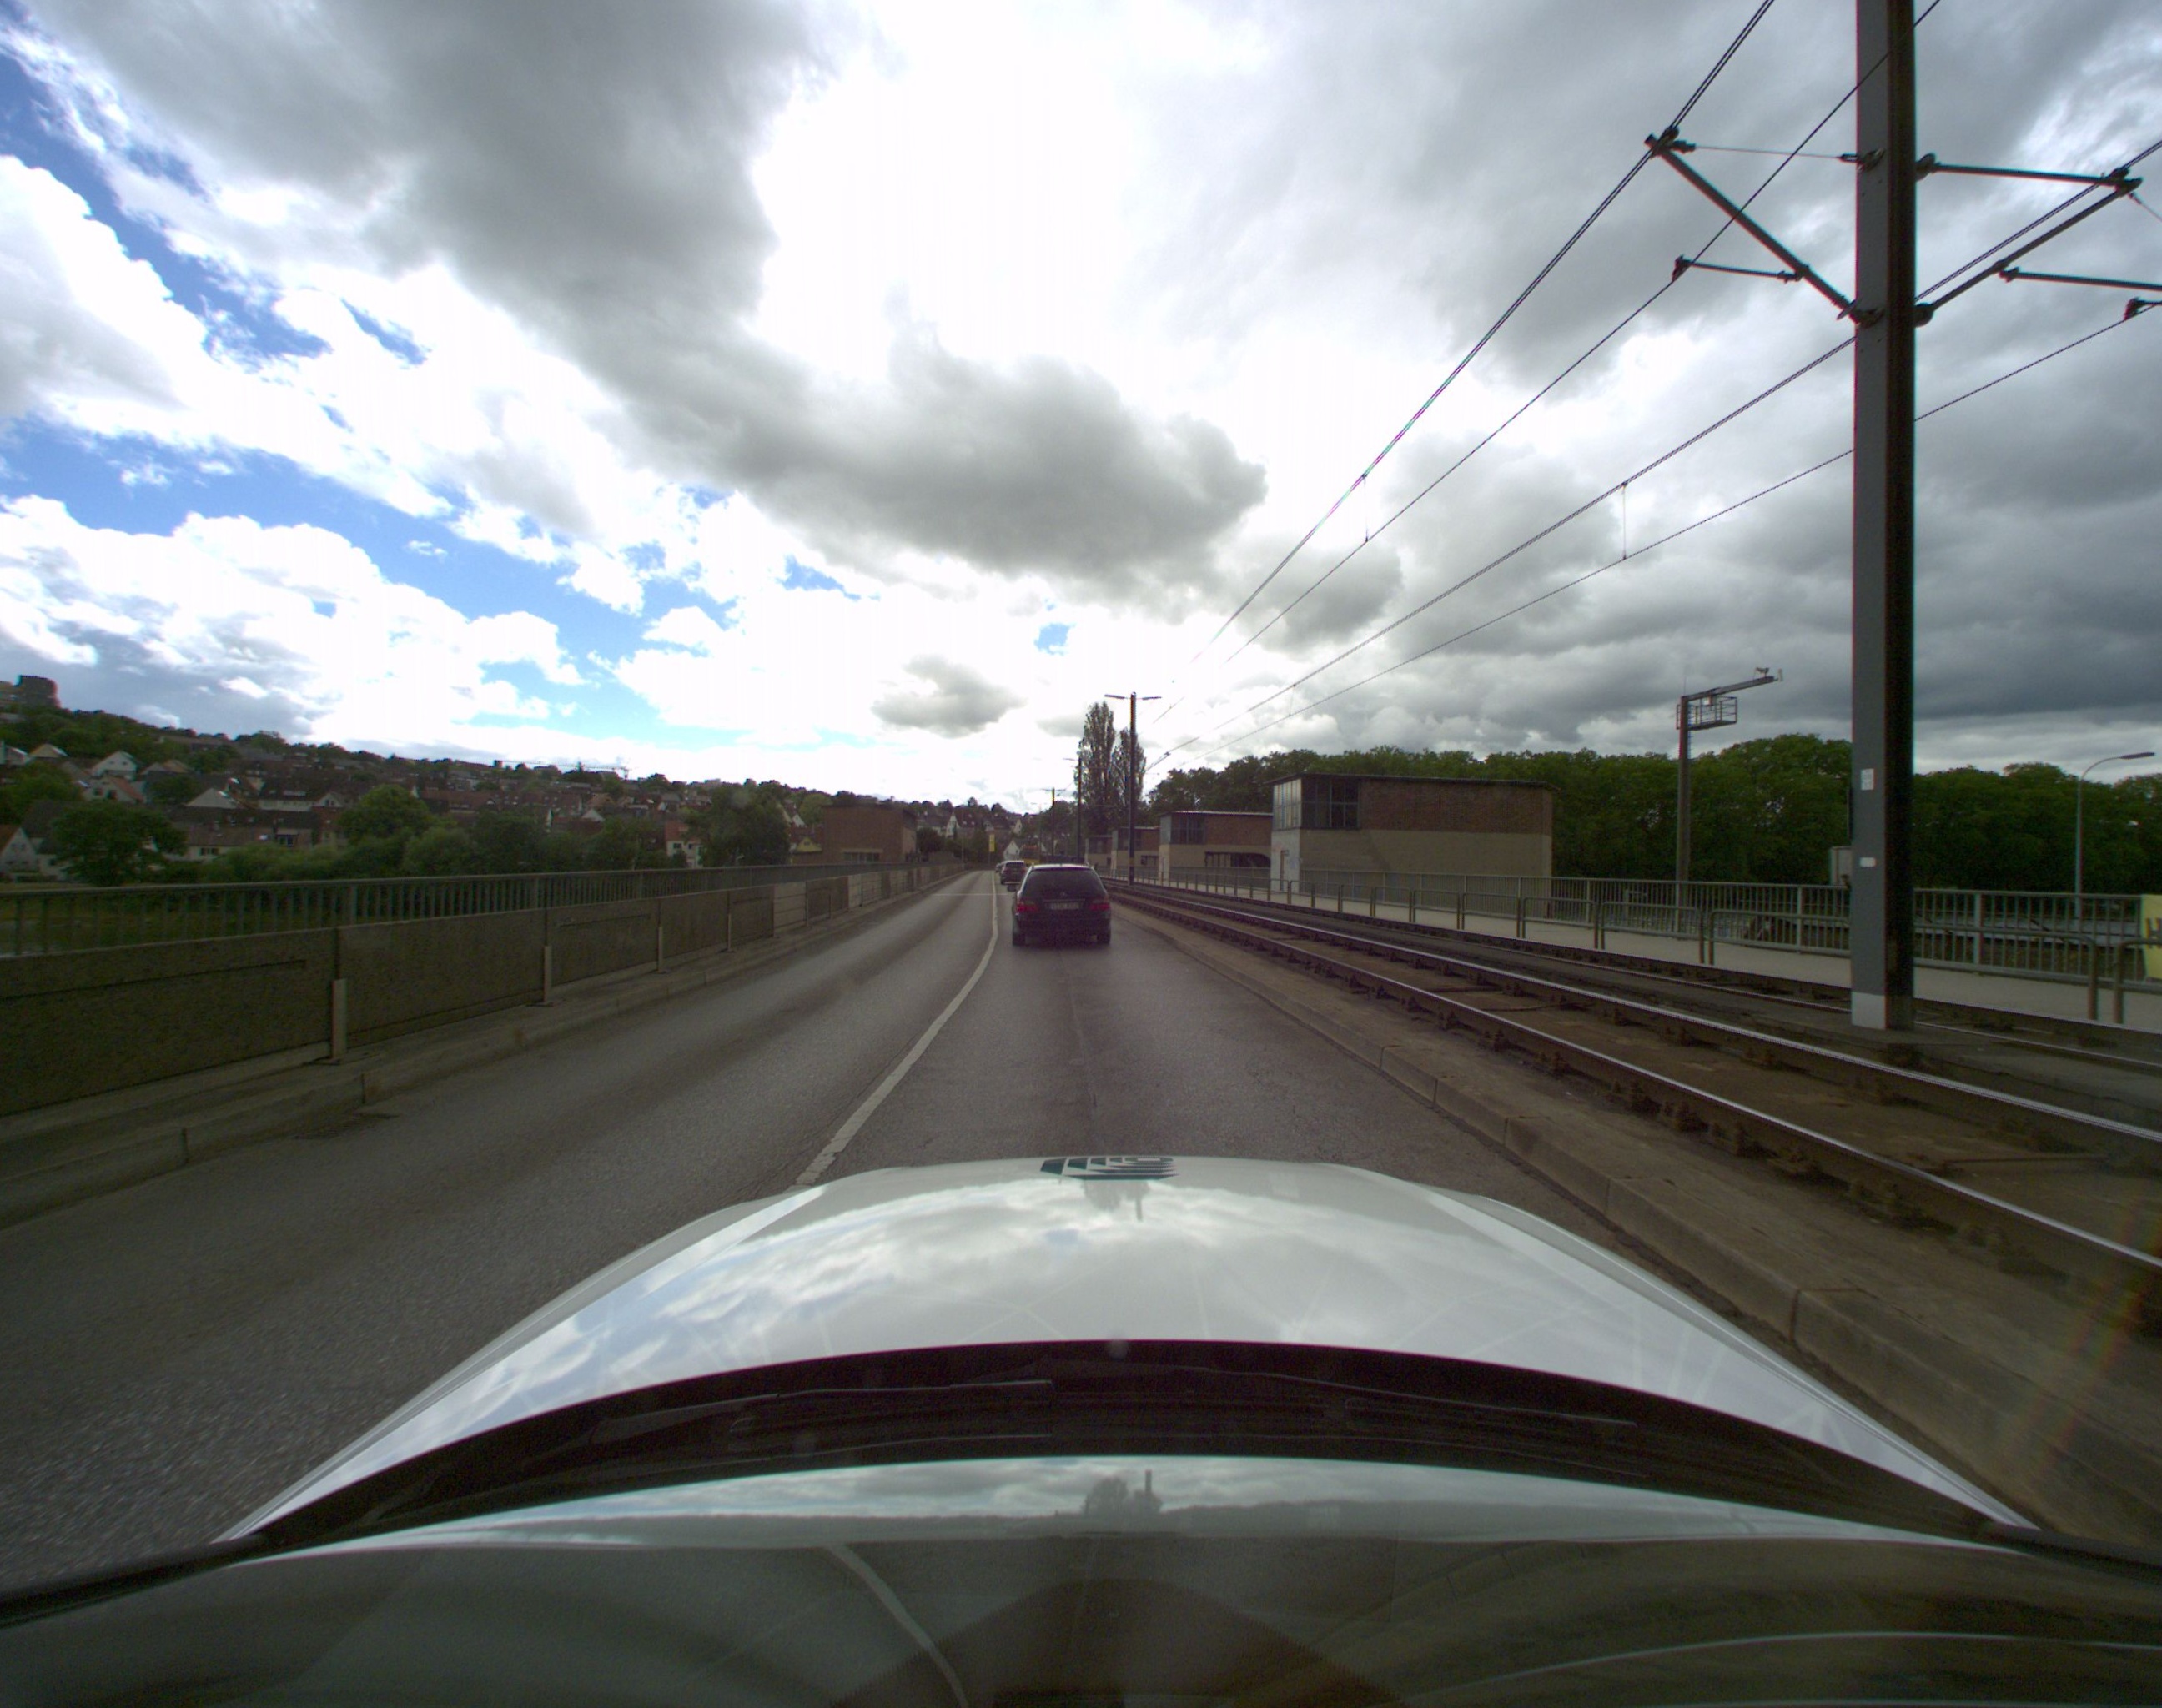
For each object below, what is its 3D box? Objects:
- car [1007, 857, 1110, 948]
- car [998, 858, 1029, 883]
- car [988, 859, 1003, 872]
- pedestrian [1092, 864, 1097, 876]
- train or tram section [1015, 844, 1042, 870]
[{"bbox_3d":[-0.551,0.846,16.050,1.756,1.516,4.434,0,-1,-5],"label":"car"},{"bbox_3d":[-4.394,1.032,52.528,1.769,1.555,4.228,1,0,-8],"label":"car"},{"bbox_3d":[-11.767,1.565,111.733,1.992,1.571,4.893,2,0,-7],"label":"car"},{"bbox_3d":[1.784,2.097,108.041,0.576,1.610,0.611,1,-1,-6],"label":"pedestrian"},{"bbox_3d":[-7.867,0.516,119.203,2.879,3.509,18.621,-1,0,-7],"label":"train or tram section"}]
